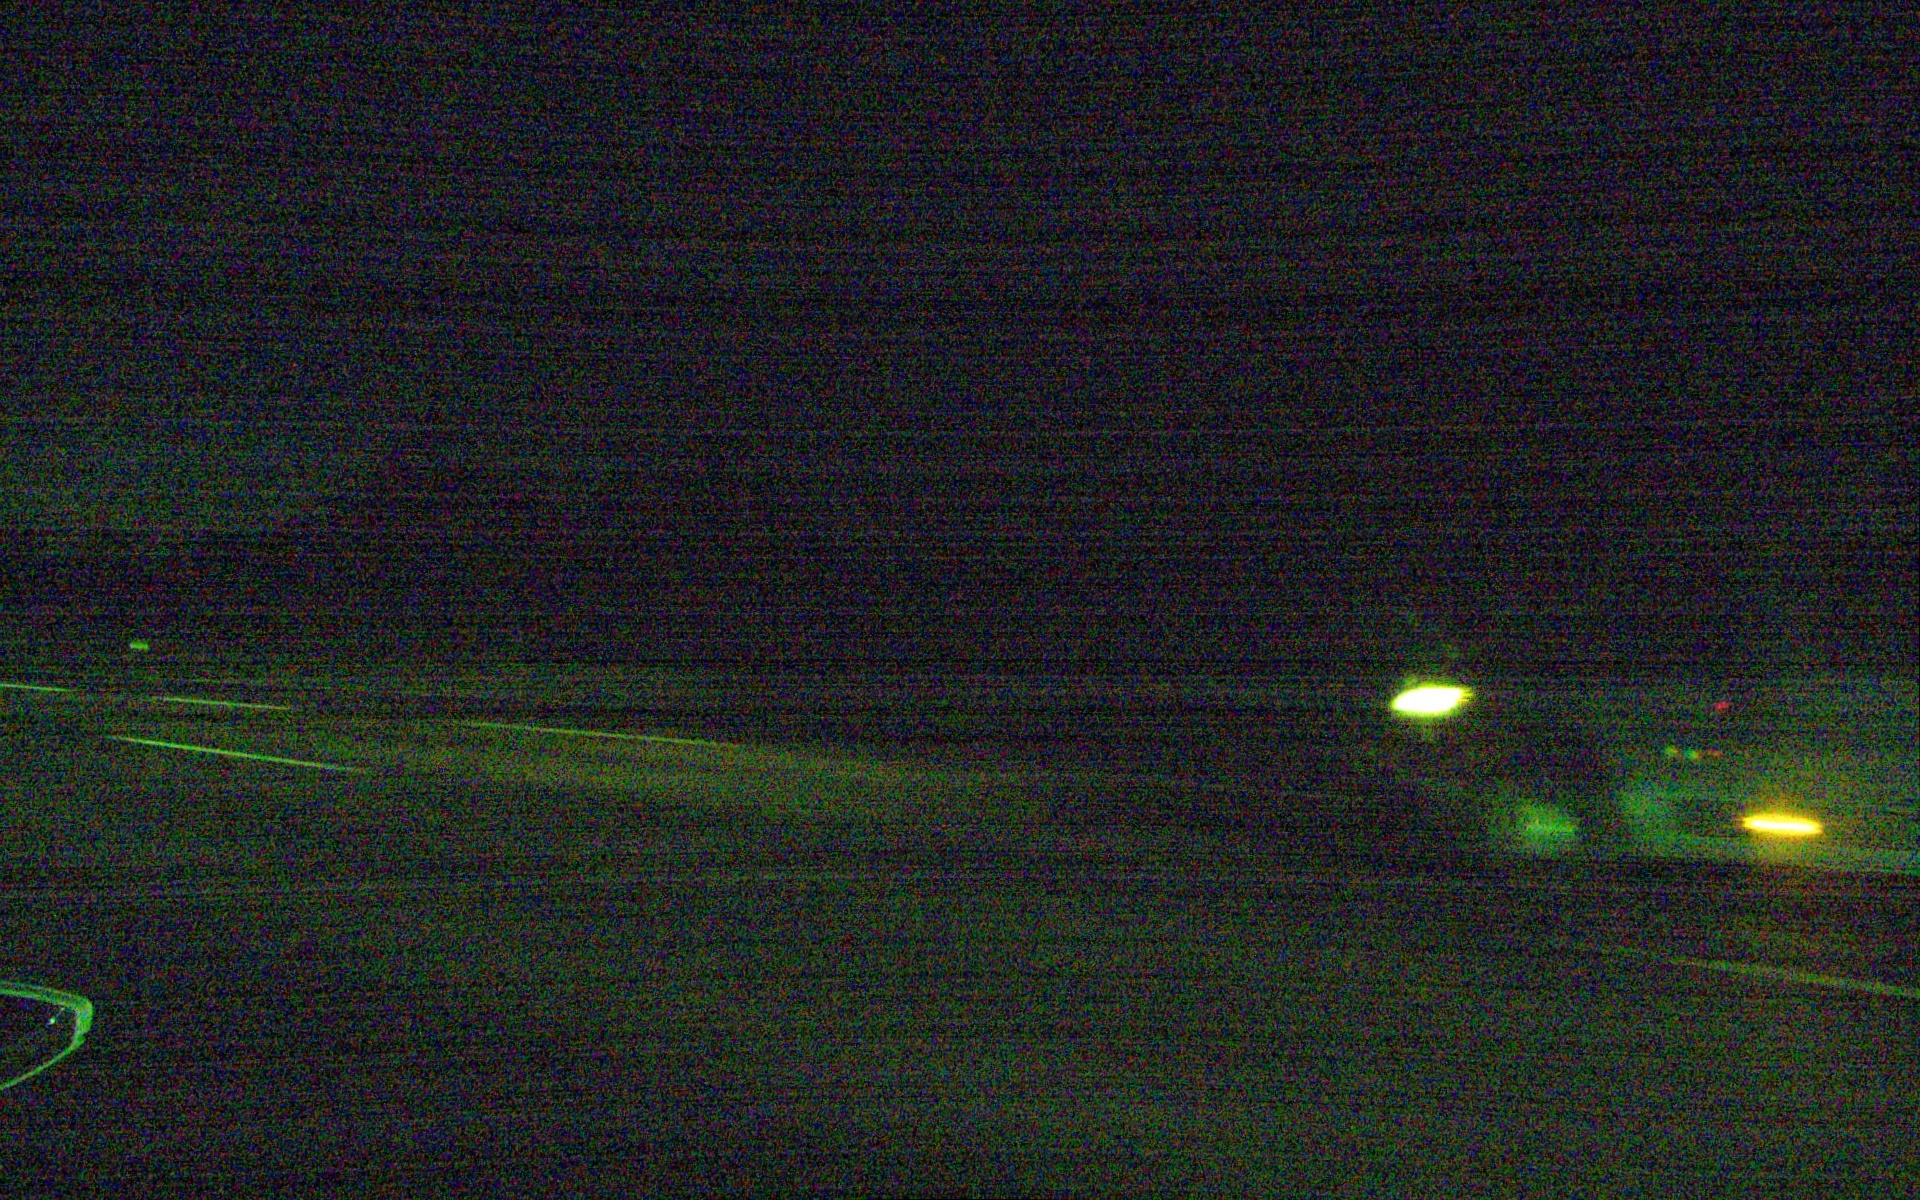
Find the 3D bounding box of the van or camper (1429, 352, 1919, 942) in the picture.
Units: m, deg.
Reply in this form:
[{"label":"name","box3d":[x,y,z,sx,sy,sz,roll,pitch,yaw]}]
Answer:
[{"label":"van or camper","box3d":[6.176,0.240,5.049,6.707,2.807,2.203,0,-1,33]}]
